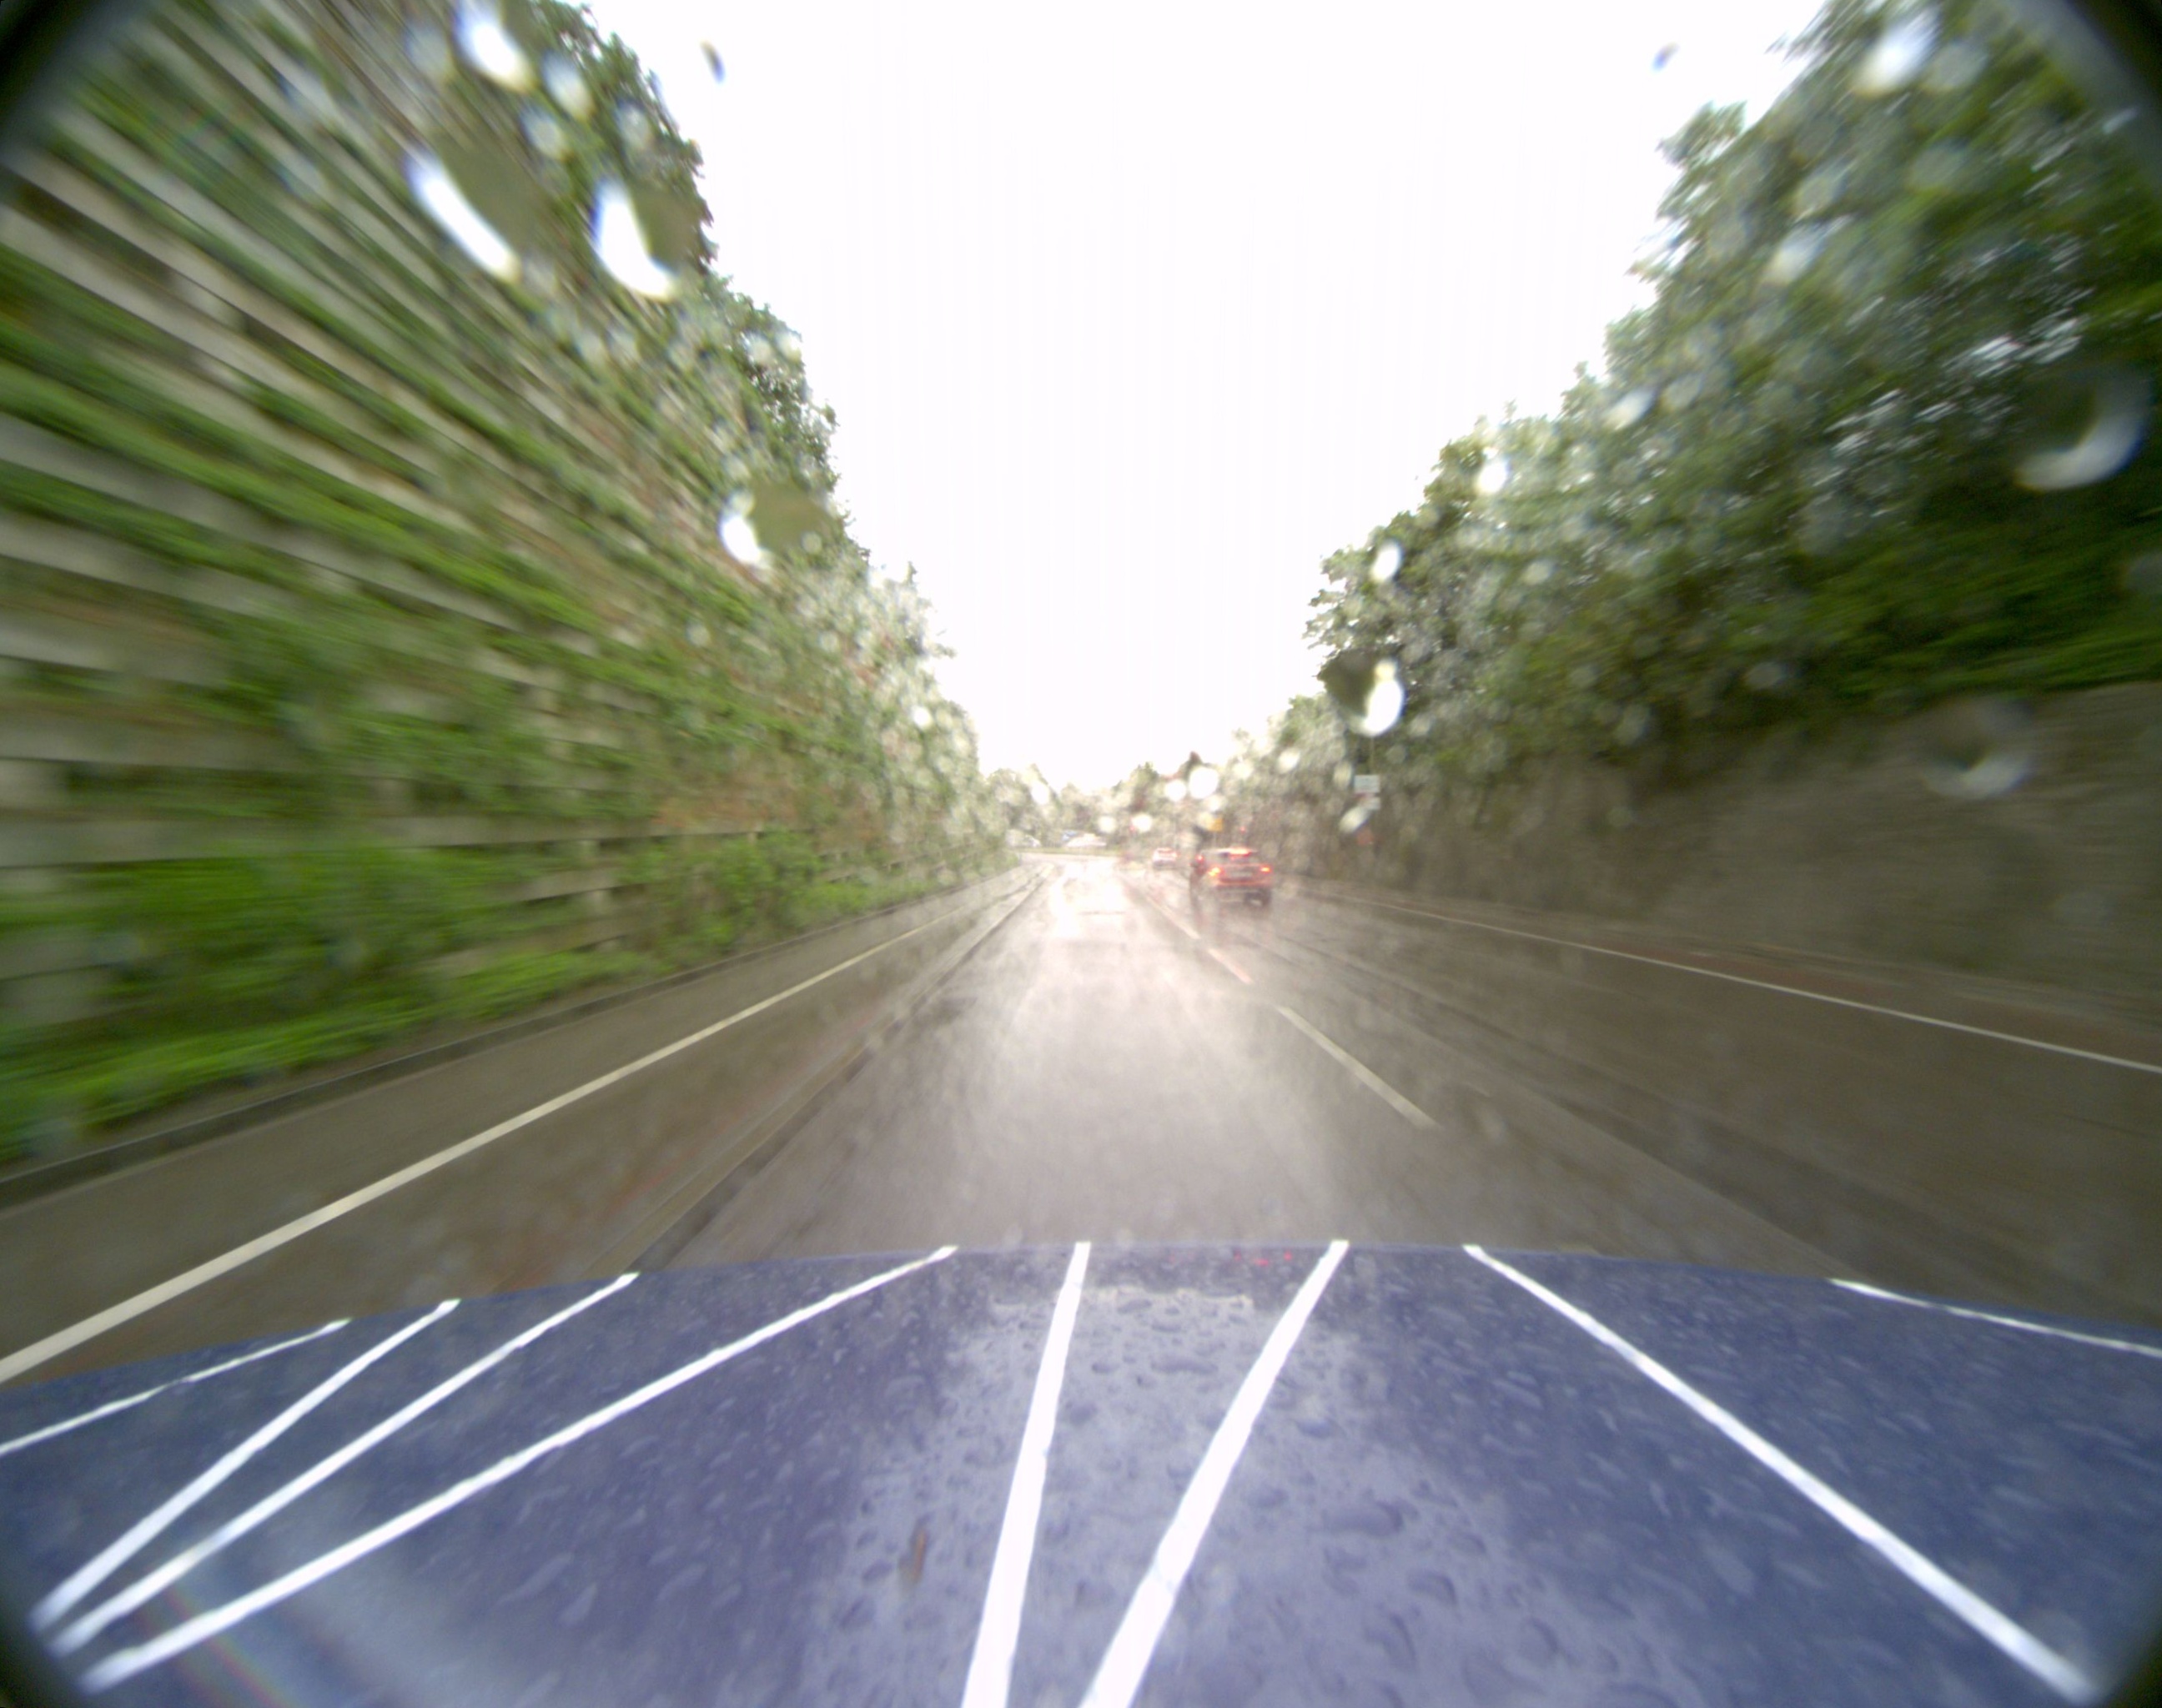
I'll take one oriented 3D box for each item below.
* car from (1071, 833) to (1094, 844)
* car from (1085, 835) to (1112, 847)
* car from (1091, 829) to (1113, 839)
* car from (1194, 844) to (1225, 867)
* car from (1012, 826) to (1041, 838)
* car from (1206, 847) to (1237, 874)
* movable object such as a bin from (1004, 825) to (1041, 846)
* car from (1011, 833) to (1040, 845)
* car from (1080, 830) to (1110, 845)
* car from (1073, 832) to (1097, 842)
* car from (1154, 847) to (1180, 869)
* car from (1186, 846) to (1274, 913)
[{"bbox_3d":[0.225,-2.708,133.091,3.961,1.869,1.693,2,2,-4],"label":"car"},{"bbox_3d":[2.533,-1.908,108.771,3.822,1.559,1.774,2,2,0],"label":"car"},{"bbox_3d":[3.531,-3.373,128.010,3.478,1.531,1.447,2,2,-2],"label":"car"},{"bbox_3d":[9.632,0.100,57.387,1.997,1.495,4.730,2,2,7],"label":"car"},{"bbox_3d":[-8.605,-3.488,120.859,4.386,1.756,1.921,2,2,1],"label":"car"},{"bbox_3d":[9.224,0.377,50.111,1.818,1.648,4.051,0,2,8],"label":"car"},{"bbox_3d":[-7.989,-2.534,102.827,2.316,2.671,5.686,1,1,-35],"label":"movable object such as a bin"},{"bbox_3d":[-7.899,-2.190,108.537,3.997,1.565,1.669,2,2,0],"label":"car"},{"bbox_3d":[2.073,-2.390,111.270,4.232,1.969,1.903,2,2,0],"label":"car"},{"bbox_3d":[0.659,-2.929,130.611,3.880,1.619,1.693,2,2,-4],"label":"car"},{"bbox_3d":[6.434,0.283,56.742,1.872,1.592,4.002,0,0,7],"label":"car"},{"bbox_3d":[4.029,0.637,21.137,1.737,1.609,3.999,-1,1,2],"label":"car"}]
